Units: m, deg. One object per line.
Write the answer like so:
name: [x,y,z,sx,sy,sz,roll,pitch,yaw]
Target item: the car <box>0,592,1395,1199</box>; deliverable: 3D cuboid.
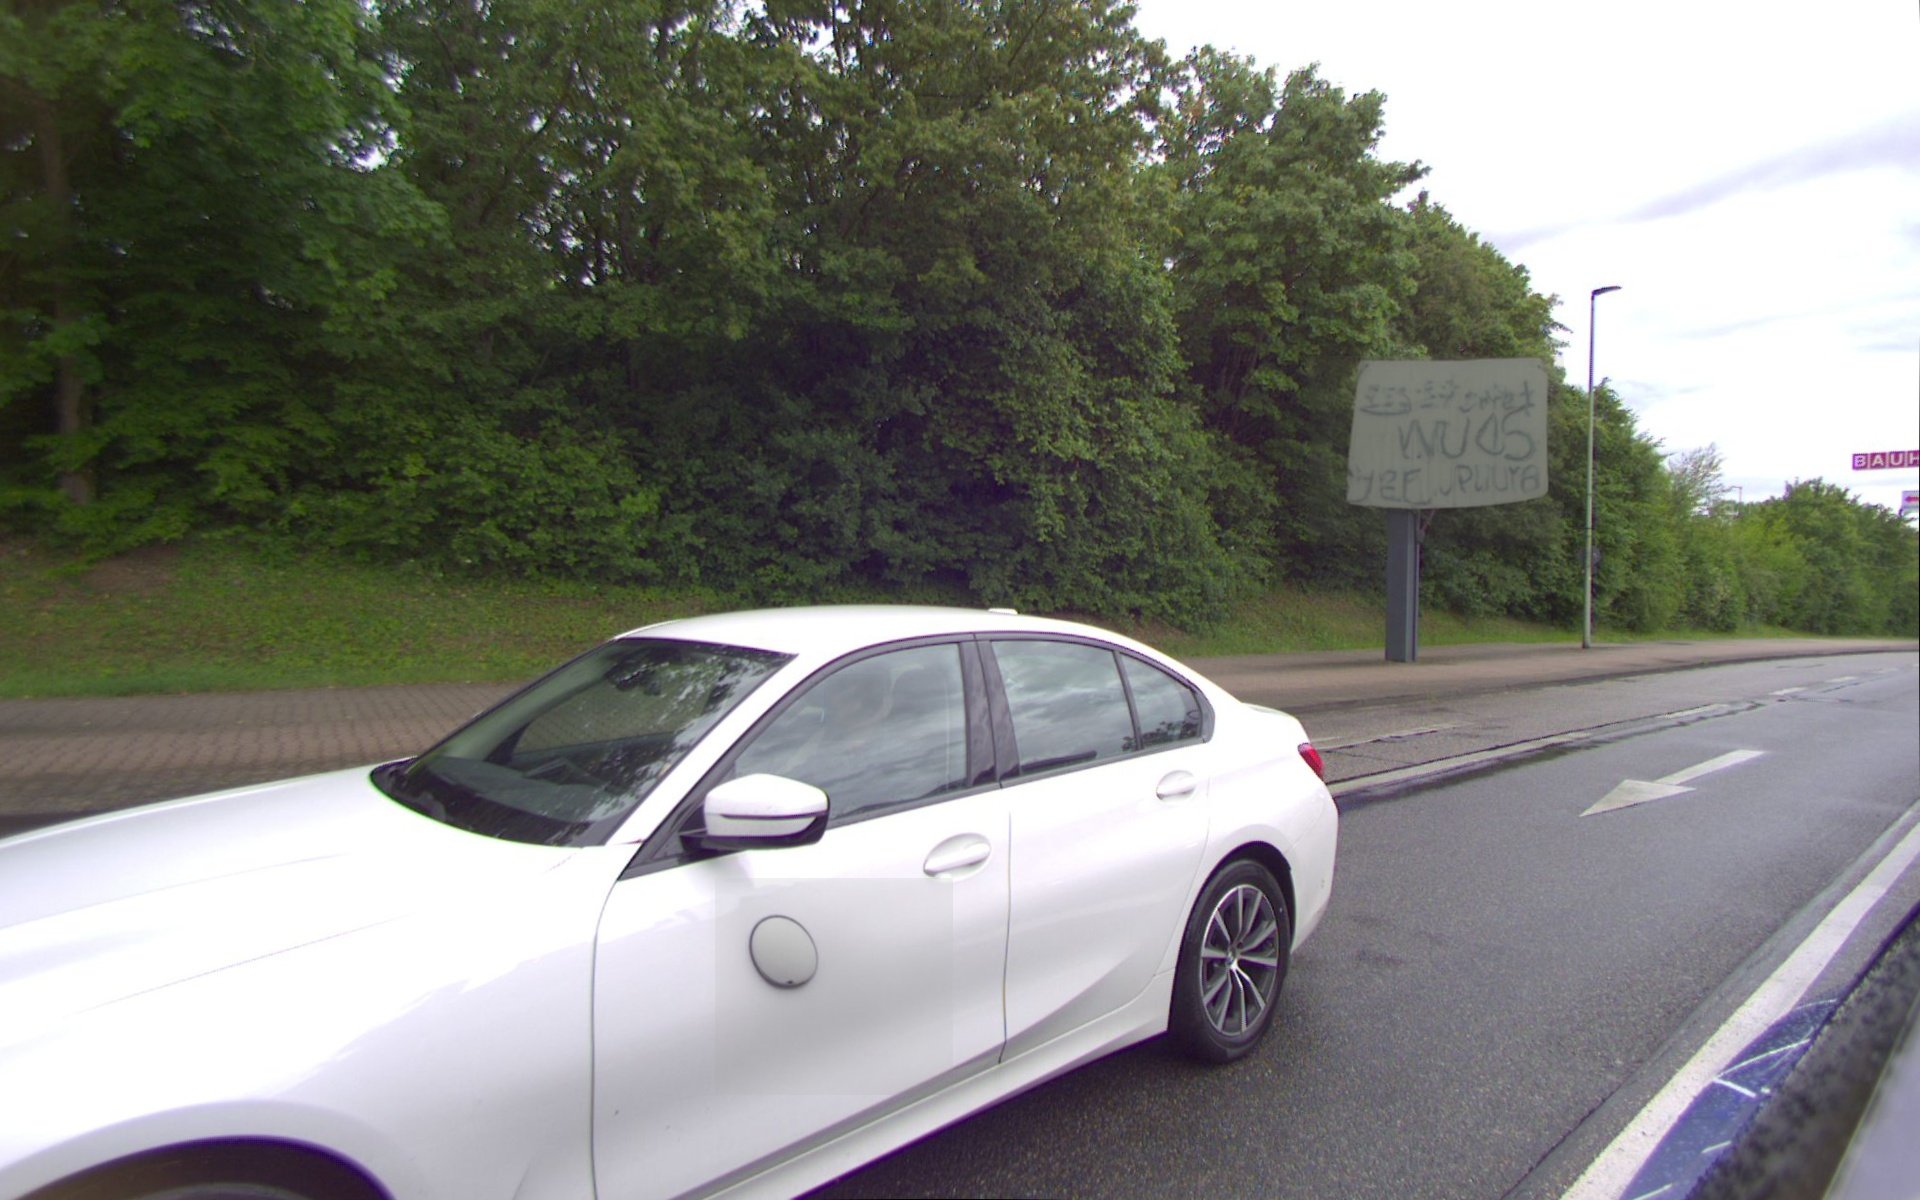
car: [-0.590,0.728,3.052,4.600,1.475,1.782,-1,1,-42]
